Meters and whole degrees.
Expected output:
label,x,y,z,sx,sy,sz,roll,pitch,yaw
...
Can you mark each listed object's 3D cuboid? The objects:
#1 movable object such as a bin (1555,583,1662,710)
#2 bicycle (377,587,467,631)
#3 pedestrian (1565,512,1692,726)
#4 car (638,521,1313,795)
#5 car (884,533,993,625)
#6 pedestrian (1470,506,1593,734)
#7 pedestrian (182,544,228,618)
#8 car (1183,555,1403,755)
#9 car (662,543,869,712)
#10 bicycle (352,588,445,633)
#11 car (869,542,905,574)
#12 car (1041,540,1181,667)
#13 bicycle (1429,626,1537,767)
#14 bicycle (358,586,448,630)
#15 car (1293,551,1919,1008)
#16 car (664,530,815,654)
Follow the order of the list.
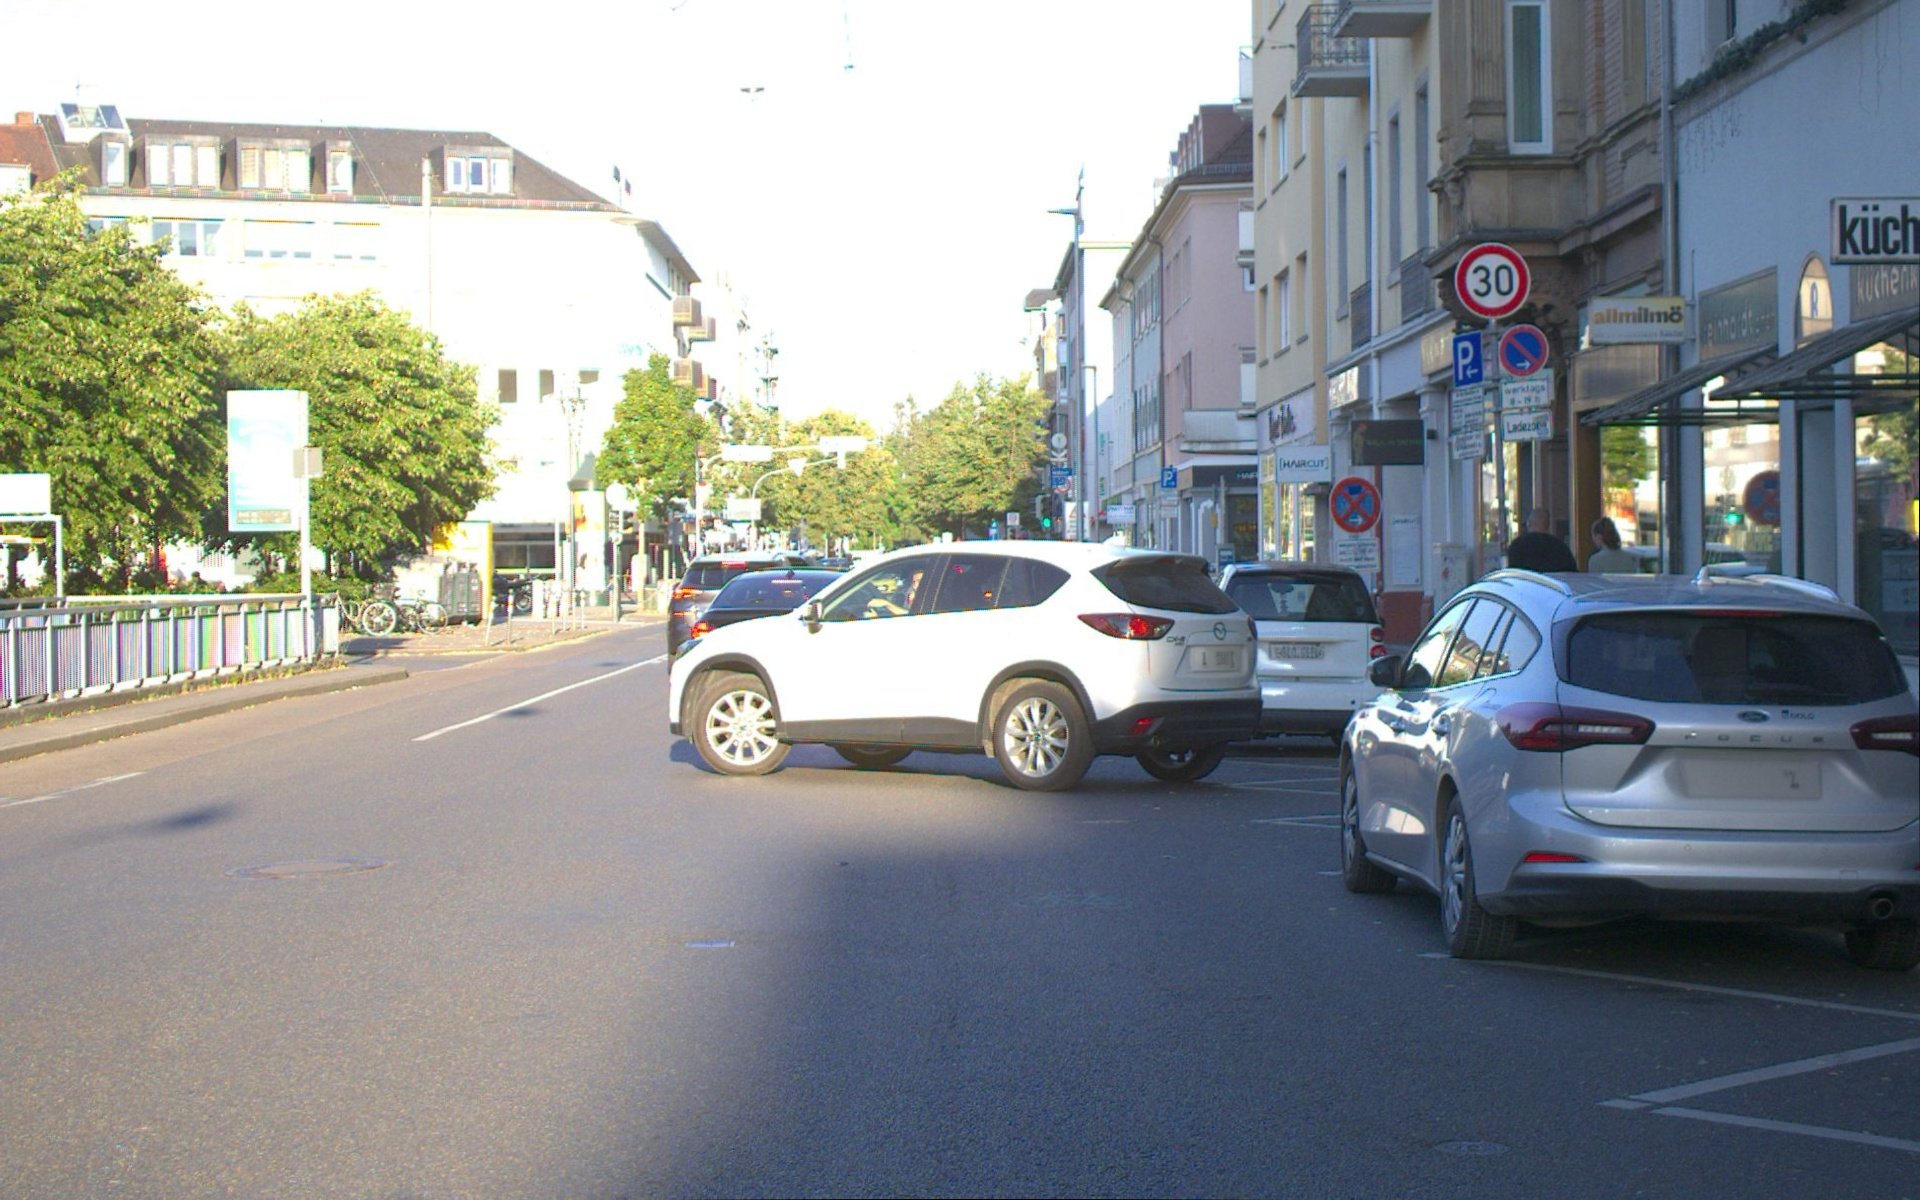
label,x,y,z,sx,sy,sz,roll,pitch,yaw
movable object such as a bin,5.700,0.403,30.244,0.774,1.066,0.618,-2,1,-1
bicycle,-11.383,0.195,72.778,1.825,0.850,0.484,3,0,-4
pedestrian,5.506,0.144,28.360,0.772,1.705,1.042,-2,1,-1
car,0.052,0.355,24.180,4.461,1.755,1.996,0,1,39
car,-0.408,-0.393,62.750,1.896,1.576,4.000,1,1,-1
pedestrian,4.702,0.154,28.340,0.772,1.821,1.011,-2,1,-1
pedestrian,-16.329,-0.408,74.342,0.791,1.589,0.567,1,1,19
car,2.692,0.423,28.359,1.532,1.531,3.283,1,0,1
car,-1.913,0.240,34.878,1.896,1.576,4.000,1,1,-1
bicycle,-11.592,0.210,70.975,1.825,0.850,0.484,3,0,-4
car,-3.608,-2.093,170.363,1.779,1.542,4.000,0,1,-1
car,2.076,0.041,48.217,1.730,1.645,4.284,2,0,0
bicycle,4.073,0.732,26.871,0.504,1.012,1.947,-1,1,-1
bicycle,-11.932,0.163,73.690,1.825,0.850,0.484,3,0,-4
car,2.605,0.612,14.223,1.759,1.531,4.822,2,0,-2
car,-3.017,-0.131,47.769,1.896,1.644,4.104,0,1,-1
